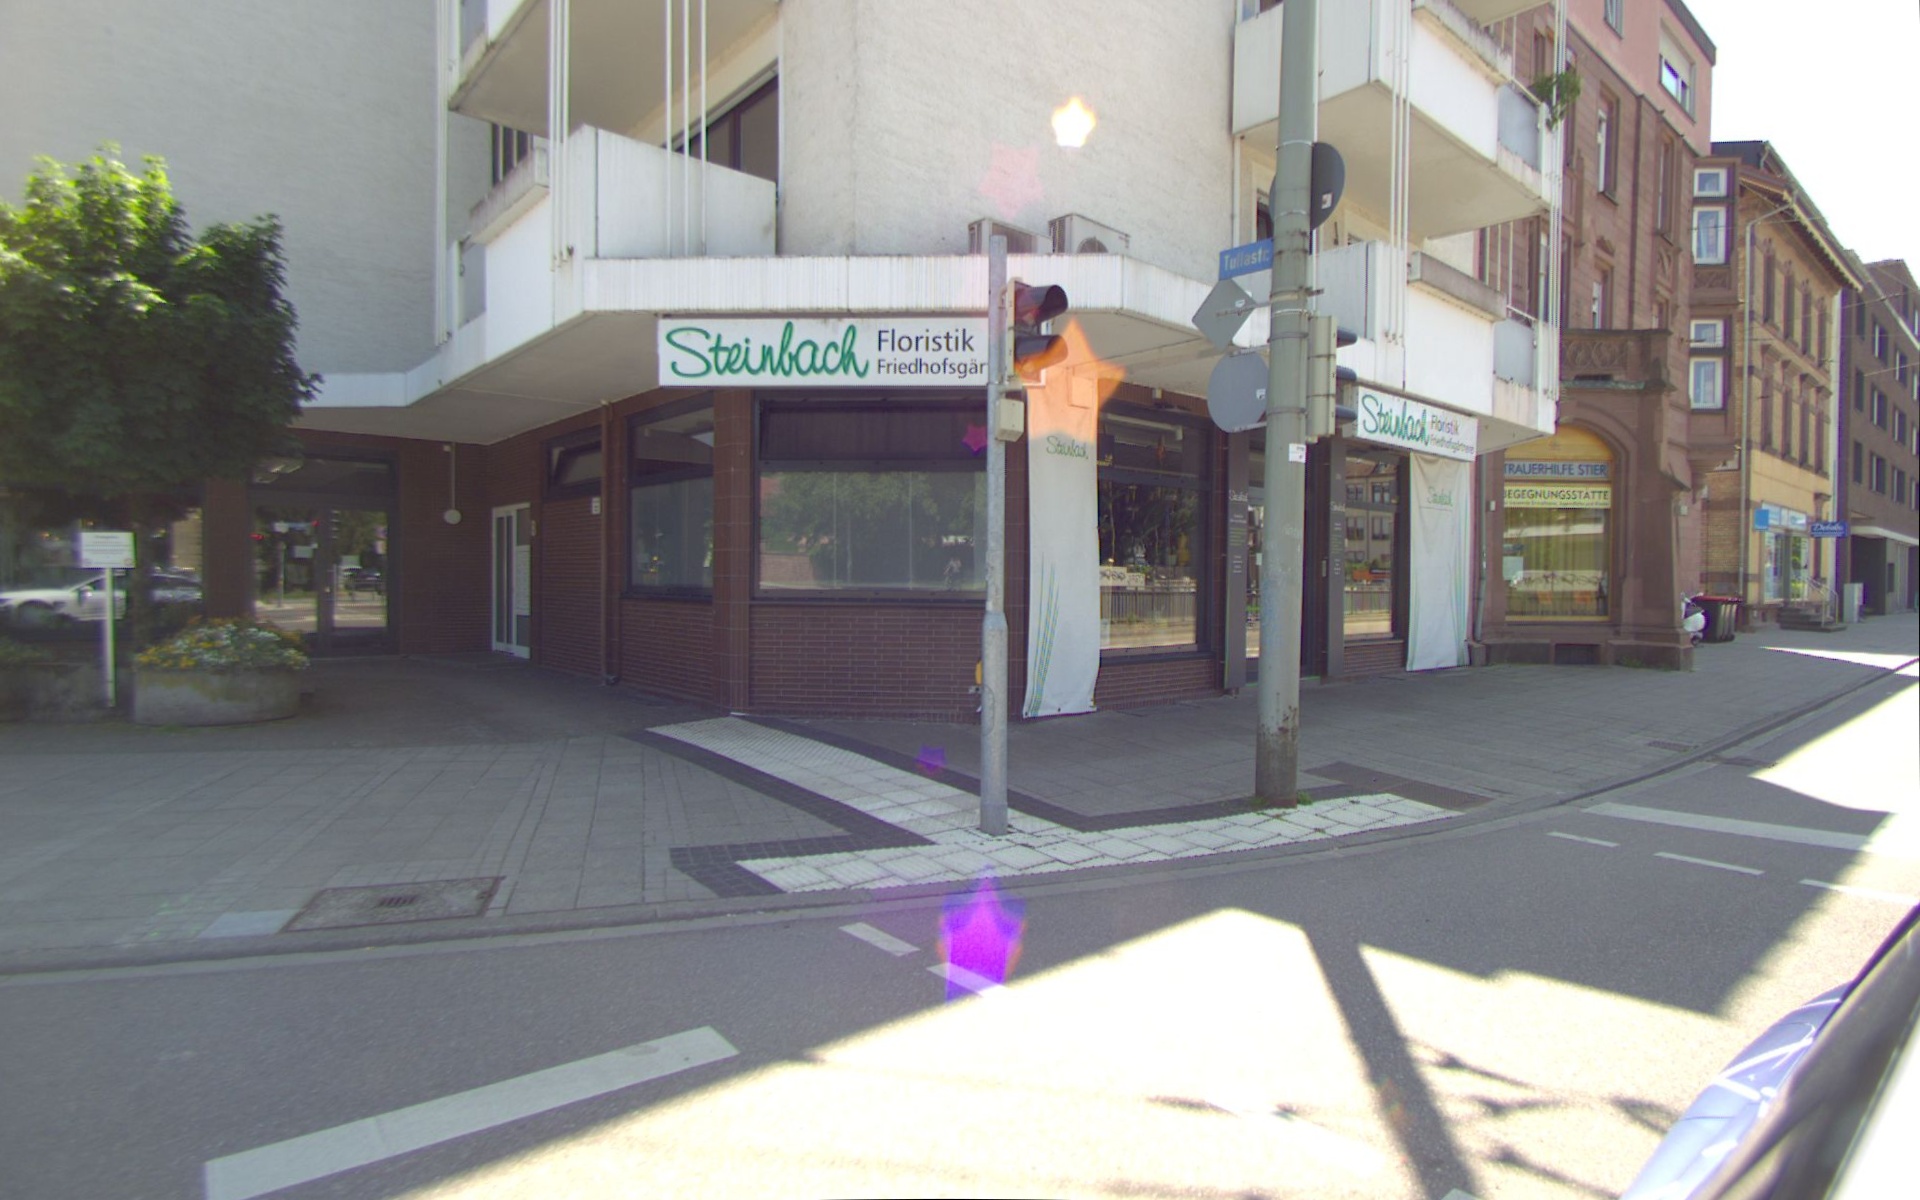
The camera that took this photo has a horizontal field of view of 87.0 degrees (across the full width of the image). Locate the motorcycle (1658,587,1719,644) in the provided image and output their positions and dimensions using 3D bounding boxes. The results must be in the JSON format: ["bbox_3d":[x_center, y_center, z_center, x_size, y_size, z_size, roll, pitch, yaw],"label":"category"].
[{"bbox_3d":[15.393,0.310,21.368,1.845,1.163,0.528,-1,1,-37],"label":"motorcycle"}]

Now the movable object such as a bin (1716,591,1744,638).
[{"bbox_3d":[18.161,0.340,23.858,0.549,1.061,0.376,0,3,-41],"label":"movable object such as a bin"}]

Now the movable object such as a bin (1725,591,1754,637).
[{"bbox_3d":[18.674,0.323,24.238,0.646,1.061,0.376,-1,3,-41],"label":"movable object such as a bin"}]

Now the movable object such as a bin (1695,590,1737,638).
[{"bbox_3d":[17.632,0.324,23.607,0.549,1.061,0.649,0,3,-41],"label":"movable object such as a bin"}]
